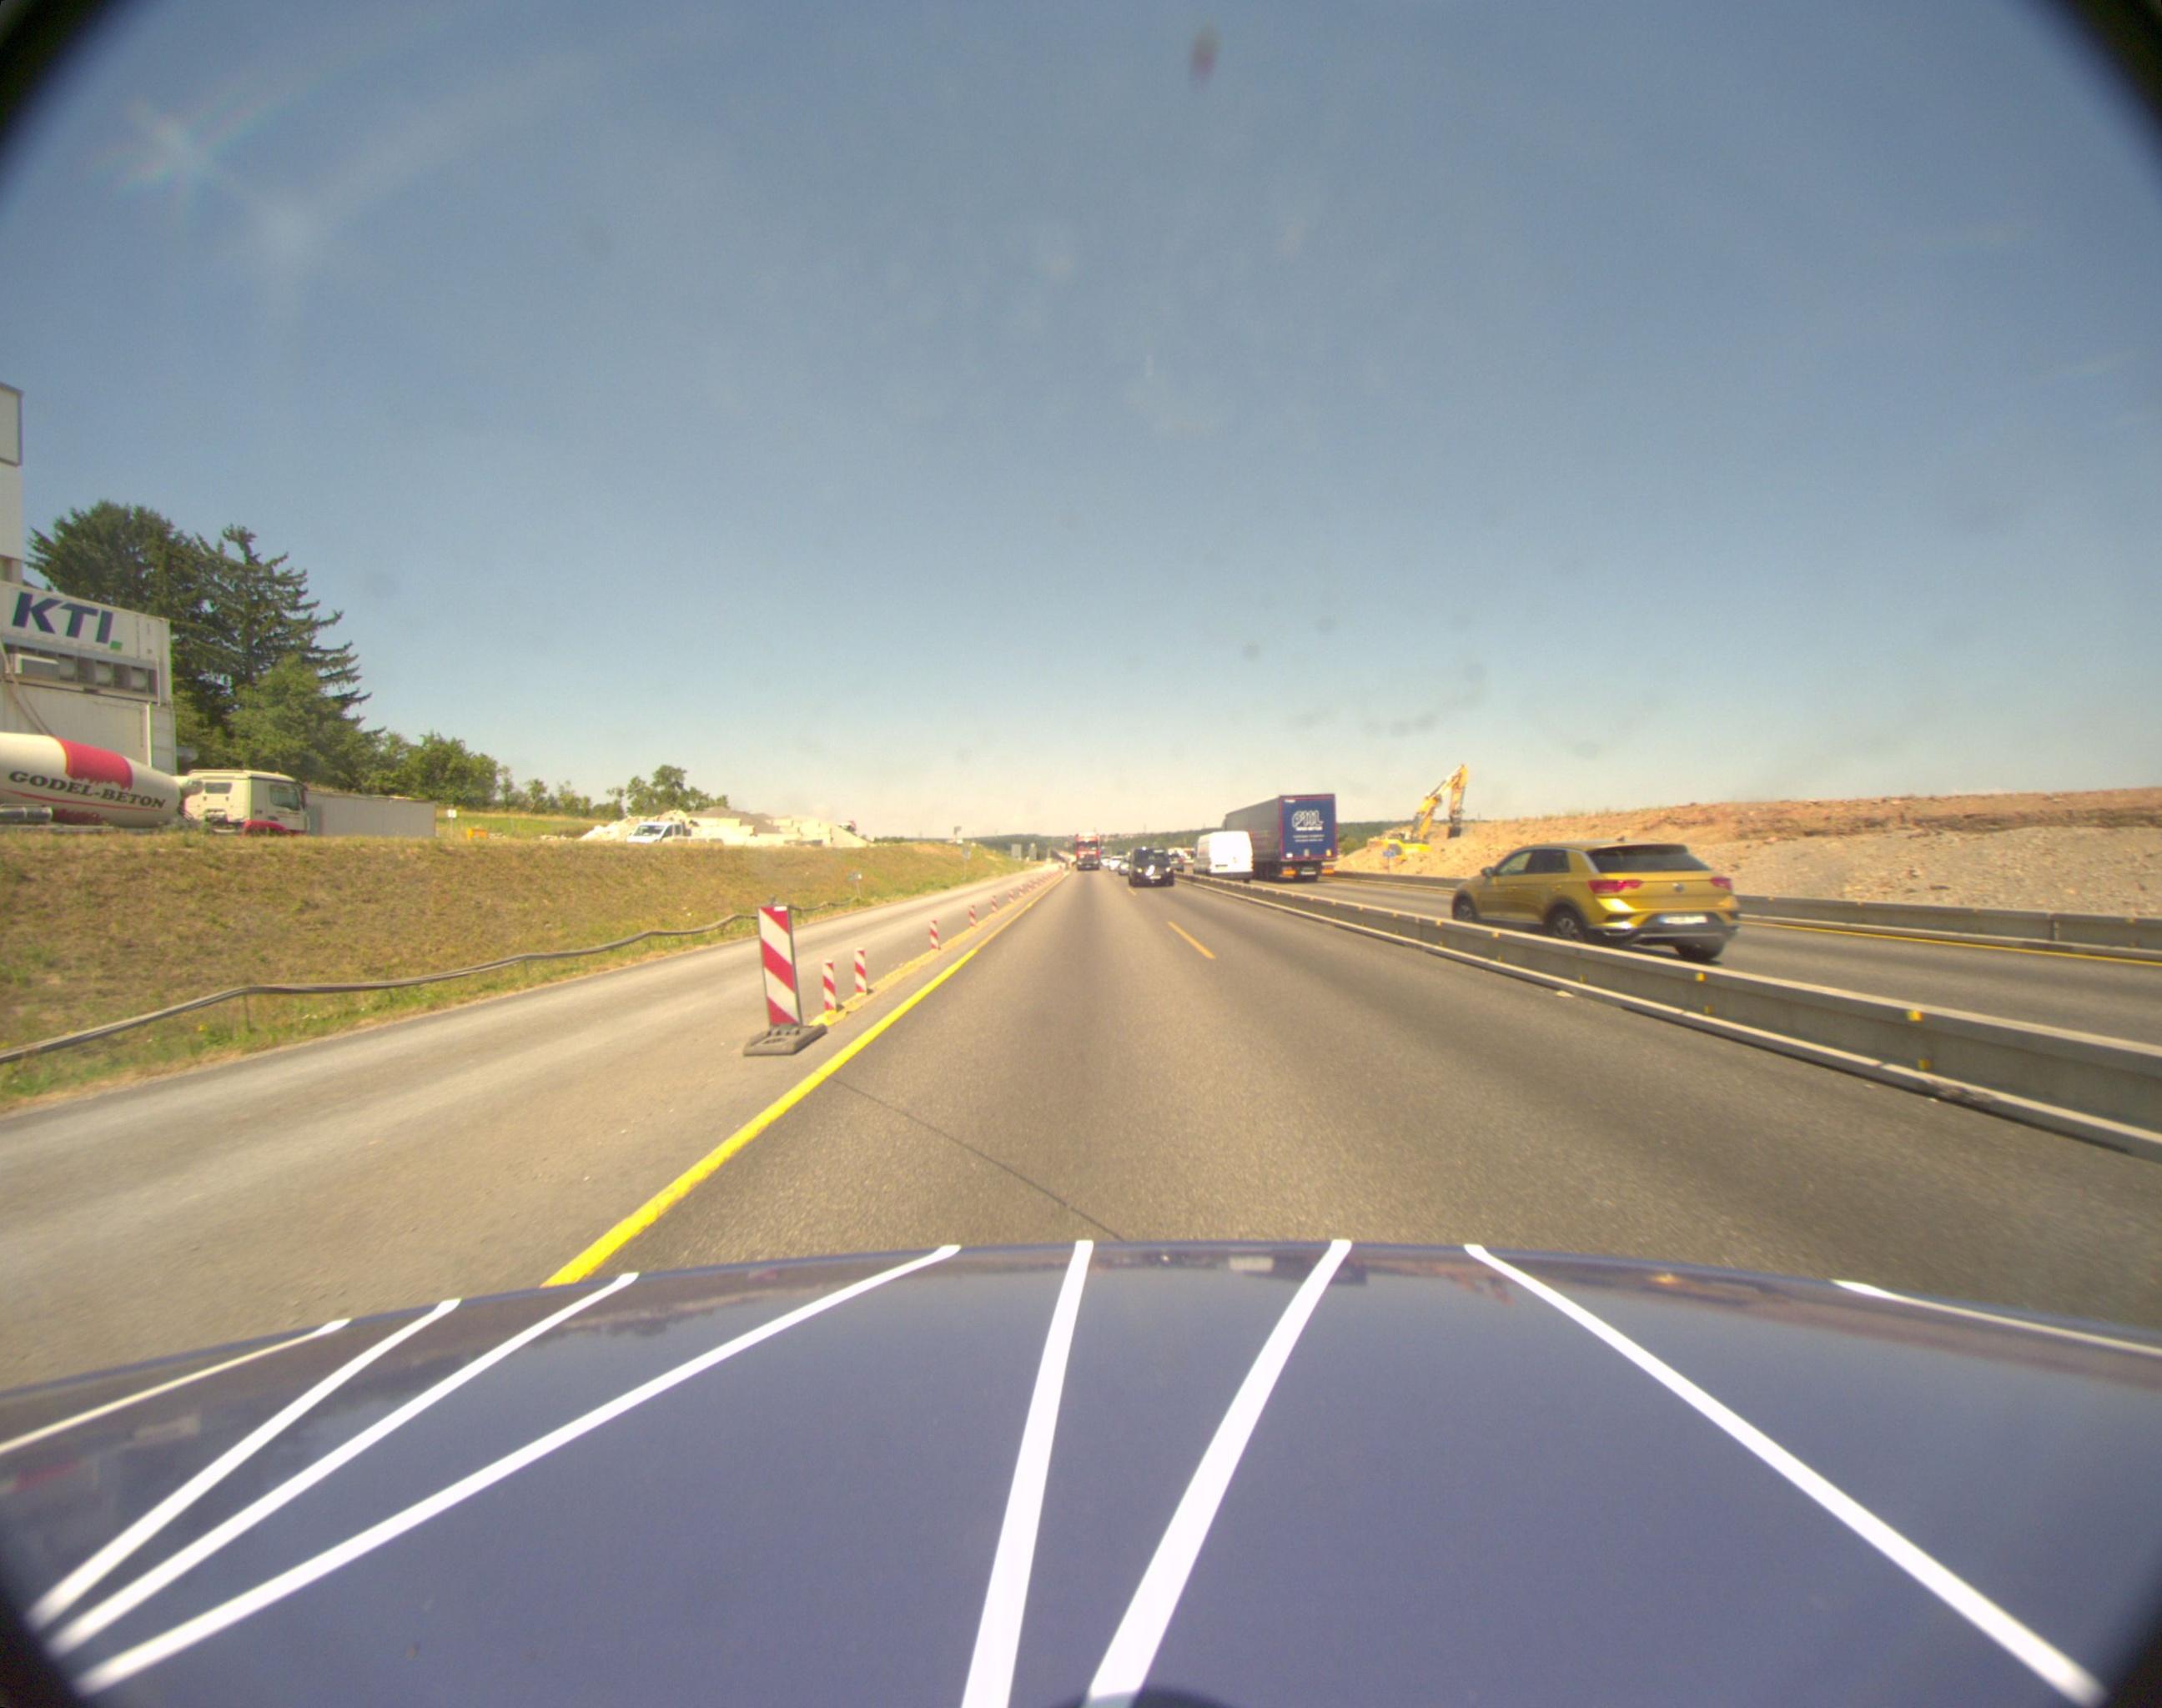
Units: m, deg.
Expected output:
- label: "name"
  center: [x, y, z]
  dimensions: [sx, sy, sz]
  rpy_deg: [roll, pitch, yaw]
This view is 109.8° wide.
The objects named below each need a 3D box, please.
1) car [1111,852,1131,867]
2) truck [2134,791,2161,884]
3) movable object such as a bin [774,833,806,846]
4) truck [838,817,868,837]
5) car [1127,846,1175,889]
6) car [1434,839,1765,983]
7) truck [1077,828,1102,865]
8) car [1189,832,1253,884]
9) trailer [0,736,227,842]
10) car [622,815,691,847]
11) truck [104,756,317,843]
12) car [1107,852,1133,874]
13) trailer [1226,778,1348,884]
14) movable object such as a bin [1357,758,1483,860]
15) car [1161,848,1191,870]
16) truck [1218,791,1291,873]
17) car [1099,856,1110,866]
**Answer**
- label: "car"
  center: [3.992, 0.521, 77.164]
  dimensions: [1.875, 1.390, 4.030]
  rpy_deg: [-2, 1, 2]
- label: "truck"
  center: [25.060, -0.373, 12.720]
  dimensions: [2.568, 2.046, 8.802]
  rpy_deg: [-2, 1, -1]
- label: "movable object such as a bin"
  center: [-15.898, -0.793, 41.580]
  dimensions: [0.838, 0.678, 2.249]
  rpy_deg: [-2, 1, 1]
- label: "truck"
  center: [-35.595, -4.231, 119.090]
  dimensions: [2.223, 2.803, 9.061]
  rpy_deg: [-2, 1, -2]
- label: "car"
  center: [3.341, 0.592, 37.108]
  dimensions: [1.878, 1.840, 5.478]
  rpy_deg: [-2, 1, 1]
- label: "car"
  center: [6.853, 0.639, 10.739]
  dimensions: [1.766, 1.565, 4.362]
  rpy_deg: [-2, 0, 2]
- label: "truck"
  center: [1.028, -0.817, 84.895]
  dimensions: [2.537, 3.798, 9.481]
  rpy_deg: [-2, 1, 2]
- label: "car"
  center: [6.877, 0.202, 37.959]
  dimensions: [2.040, 2.329, 6.196]
  rpy_deg: [-2, 0, 1]
- label: "trailer"
  center: [-28.380, -1.682, 20.684]
  dimensions: [1.998, 2.629, 6.937]
  rpy_deg: [-2, 1, 4]
- label: "car"
  center: [-25.368, -1.346, 45.523]
  dimensions: [1.990, 1.752, 3.601]
  rpy_deg: [-2, 1, 0]
- label: "truck"
  center: [-28.100, -1.652, 24.774]
  dimensions: [2.021, 2.530, 4.041]
  rpy_deg: [-2, 1, 4]
- label: "car"
  center: [2.956, 0.667, 58.139]
  dimensions: [1.804, 1.499, 4.100]
  rpy_deg: [-2, 0, 0]
- label: "trailer"
  center: [10.417, -1.098, 40.255]
  dimensions: [2.993, 4.569, 12.882]
  rpy_deg: [-2, 1, 1]
- label: "movable object such as a bin"
  center: [25.174, -3.243, 56.817]
  dimensions: [7.378, 7.073, 4.081]
  rpy_deg: [-2, 1, 1]
- label: "car"
  center: [7.699, 0.390, 62.094]
  dimensions: [1.873, 1.620, 4.885]
  rpy_deg: [-2, 1, 1]
- label: "truck"
  center: [10.511, -1.299, 46.692]
  dimensions: [2.972, 4.625, 6.243]
  rpy_deg: [-2, 1, 1]
- label: "car"
  center: [3.784, 1.072, 121.238]
  dimensions: [1.601, 1.390, 3.695]
  rpy_deg: [-2, 1, 2]
